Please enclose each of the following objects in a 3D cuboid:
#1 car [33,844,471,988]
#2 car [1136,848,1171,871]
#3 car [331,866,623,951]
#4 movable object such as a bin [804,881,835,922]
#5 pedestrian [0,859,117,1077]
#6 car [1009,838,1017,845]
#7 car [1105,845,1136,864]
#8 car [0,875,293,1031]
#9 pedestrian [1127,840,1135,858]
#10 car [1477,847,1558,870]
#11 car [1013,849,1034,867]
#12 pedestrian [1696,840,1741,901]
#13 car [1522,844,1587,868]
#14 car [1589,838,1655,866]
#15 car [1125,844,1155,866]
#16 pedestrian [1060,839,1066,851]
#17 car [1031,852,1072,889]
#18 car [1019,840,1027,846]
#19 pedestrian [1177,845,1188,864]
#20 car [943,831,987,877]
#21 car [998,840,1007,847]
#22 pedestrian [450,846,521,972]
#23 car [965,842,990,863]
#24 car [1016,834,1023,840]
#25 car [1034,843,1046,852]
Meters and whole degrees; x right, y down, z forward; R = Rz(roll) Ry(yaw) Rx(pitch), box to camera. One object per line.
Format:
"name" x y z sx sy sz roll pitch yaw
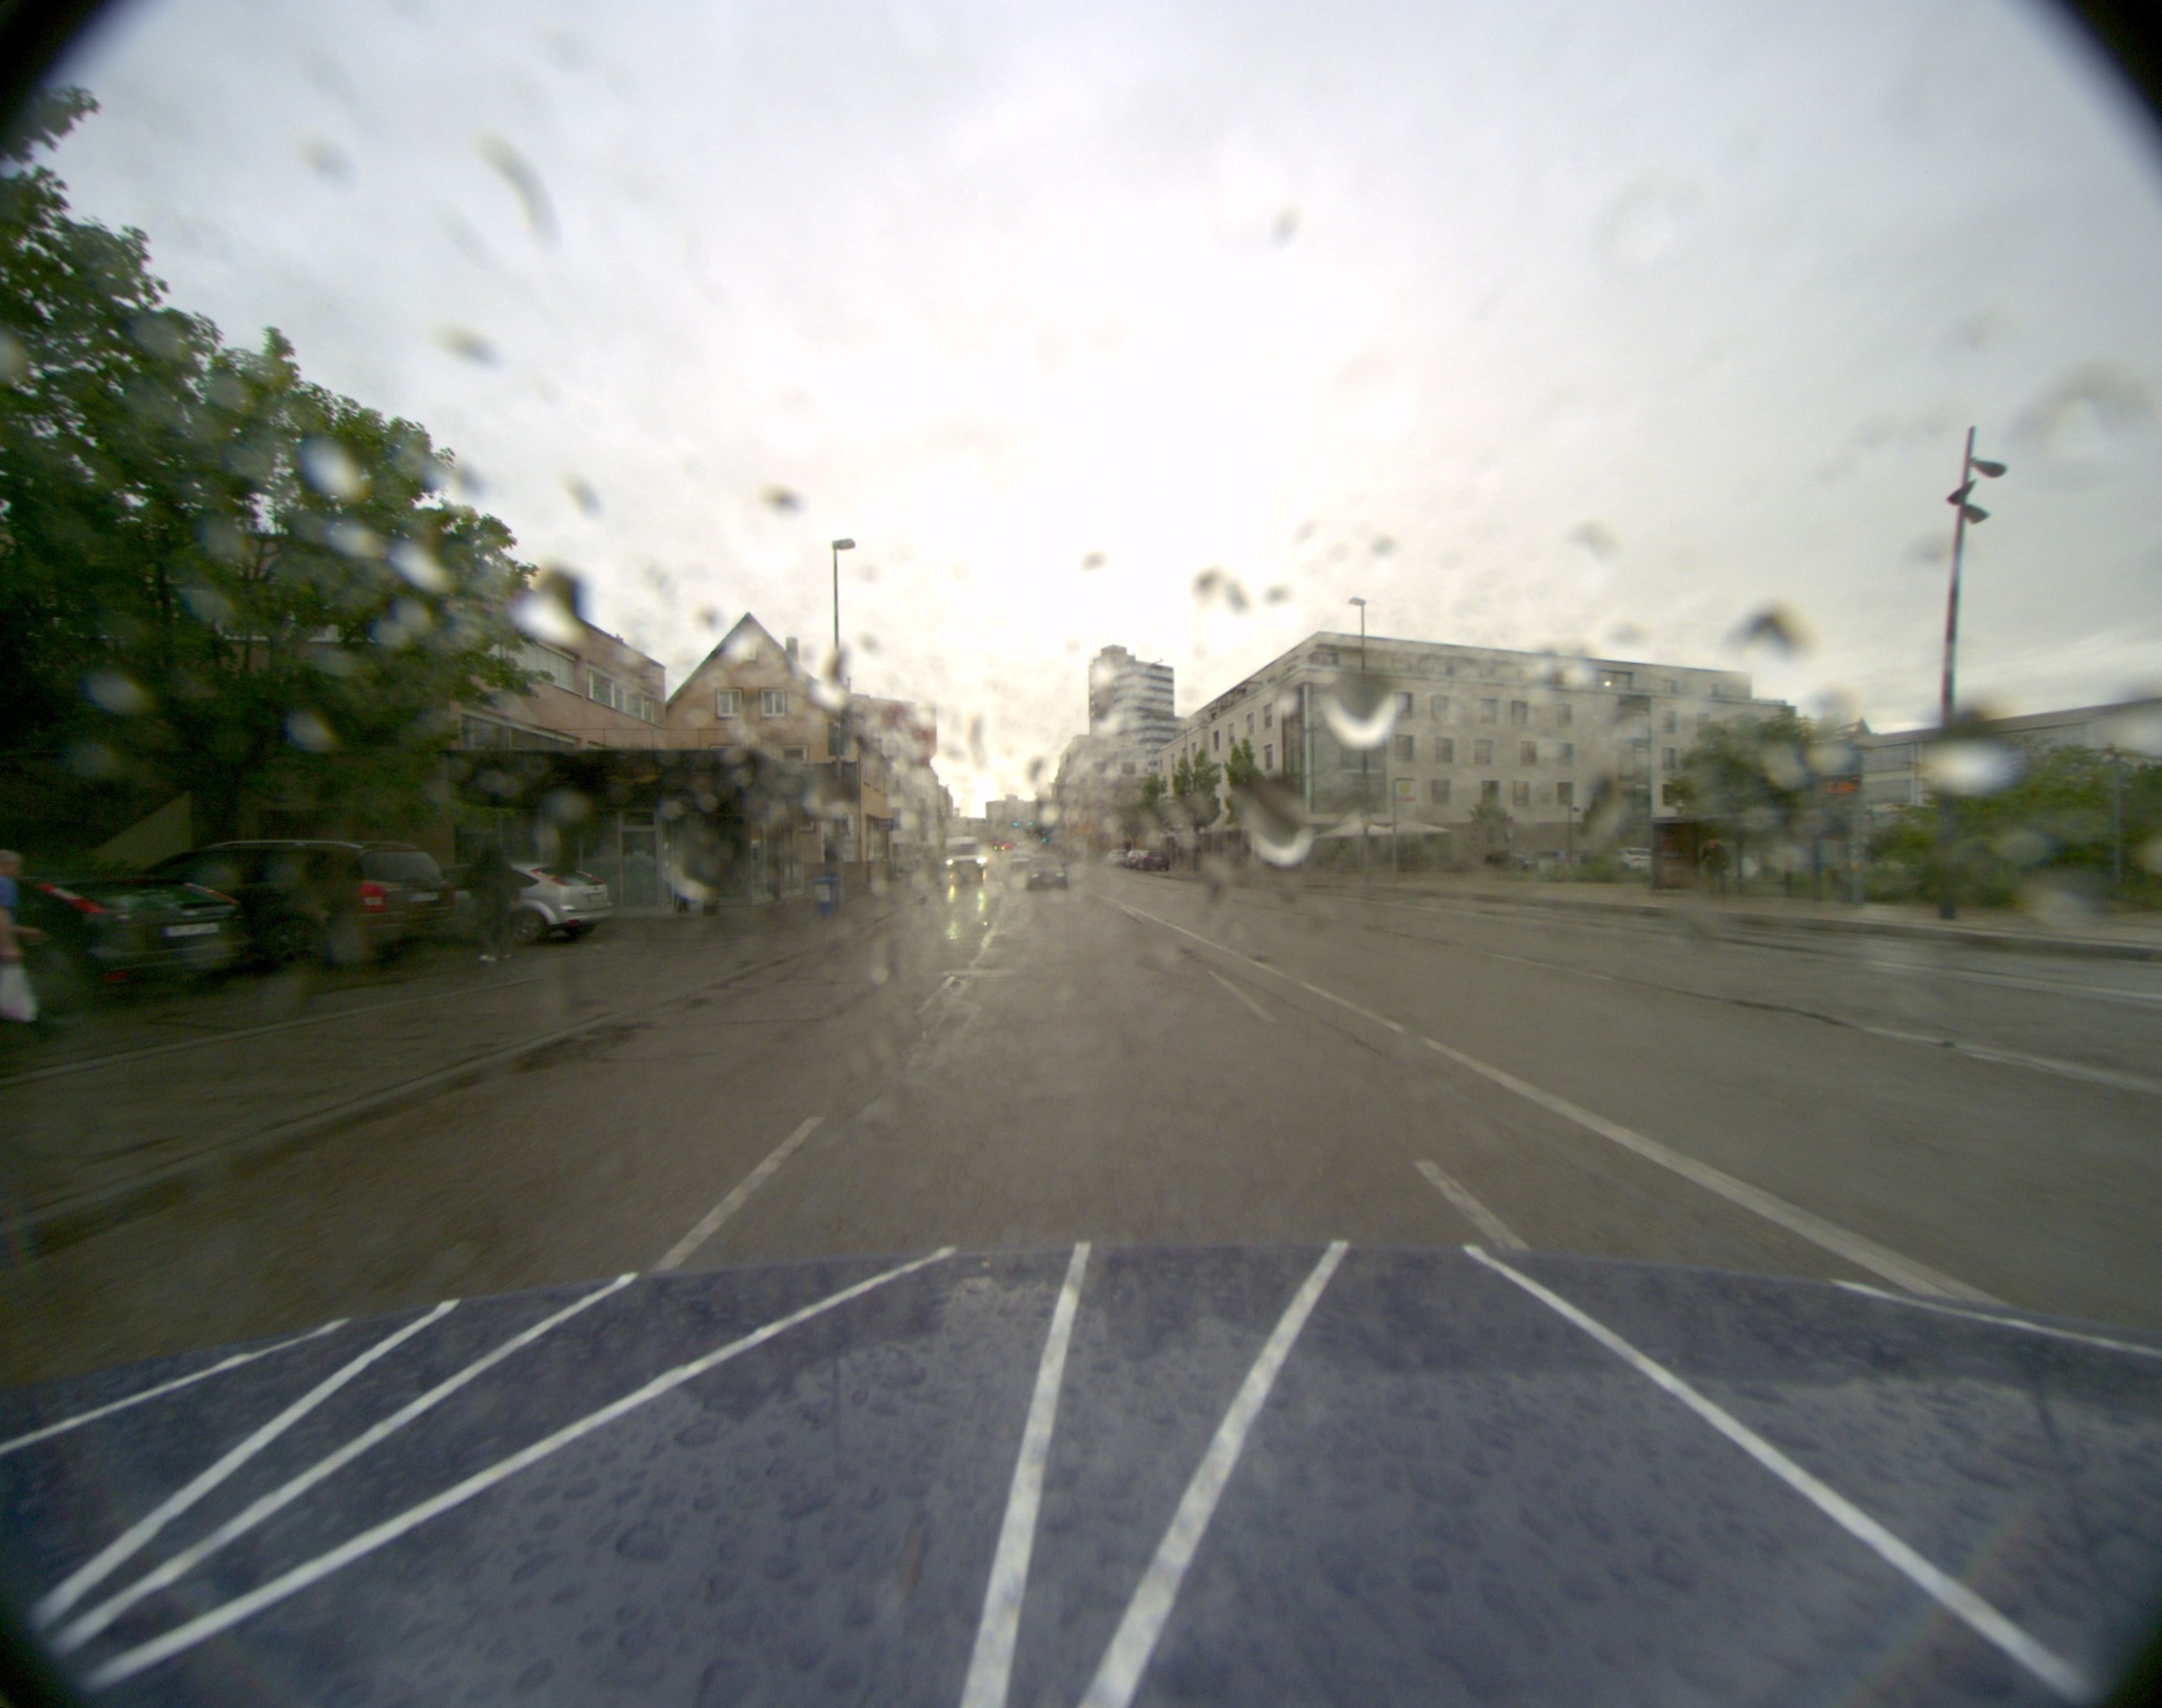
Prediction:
"car" -11.605 0.798 10.907 4.105 1.860 1.876 0 1 -2
"car" 5.172 0.338 54.730 1.592 1.573 4.467 -1 1 -7
"car" -11.126 0.972 14.221 3.998 1.439 1.746 0 1 -2
"movable object such as a bin" -7.042 1.270 20.476 0.638 1.068 0.698 0 -1 -4
"pedestrian" -9.049 0.909 6.391 0.877 1.727 0.759 0 0 -5
"car" -15.668 -2.893 175.070 1.774 1.406 4.520 -1 2 -8
"car" 3.395 -0.016 66.261 1.801 1.455 4.473 -1 3 -9
"car" -11.732 1.011 8.295 4.160 1.445 1.801 0 1 -4
"pedestrian" 5.140 -0.544 78.029 0.802 1.778 0.882 0 3 2
"car" 28.877 0.259 50.467 1.796 1.288 4.460 -1 3 -23
"car" -4.611 0.286 60.694 1.663 1.301 3.991 0 2 -5
"pedestrian" 18.851 0.469 22.485 0.786 1.736 0.672 -1 3 -21
"car" 31.833 0.111 51.173 1.503 1.451 3.426 -1 3 -25
"car" 37.799 -0.168 53.169 1.493 1.767 3.451 -1 3 -23
"car" 4.633 0.041 60.398 1.696 1.501 4.573 0 2 -4
"pedestrian" -2.873 -1.476 122.618 0.663 1.911 0.945 -4 3 -15
"car" -1.357 0.682 33.583 1.689 1.373 3.790 -2 3 -4
"car" -14.491 -2.723 189.163 1.654 1.410 4.134 2 2 -7
"pedestrian" 9.778 0.039 73.102 0.811 1.729 1.002 -1 3 -8
"car" -6.617 -0.107 43.850 2.298 2.369 6.617 -1 2 -8
"car" -17.355 -2.350 168.600 1.721 1.442 4.192 -1 2 -10
"pedestrian" -9.044 0.800 11.568 0.711 1.811 0.794 -2 3 -33
"car" -9.353 -0.187 68.602 2.018 1.613 4.354 -2 4 -9
"car" -18.084 -4.955 223.732 2.007 1.609 4.944 0 2 -4
"car" -7.684 -1.161 141.532 1.886 1.515 4.179 -1 2 -7
